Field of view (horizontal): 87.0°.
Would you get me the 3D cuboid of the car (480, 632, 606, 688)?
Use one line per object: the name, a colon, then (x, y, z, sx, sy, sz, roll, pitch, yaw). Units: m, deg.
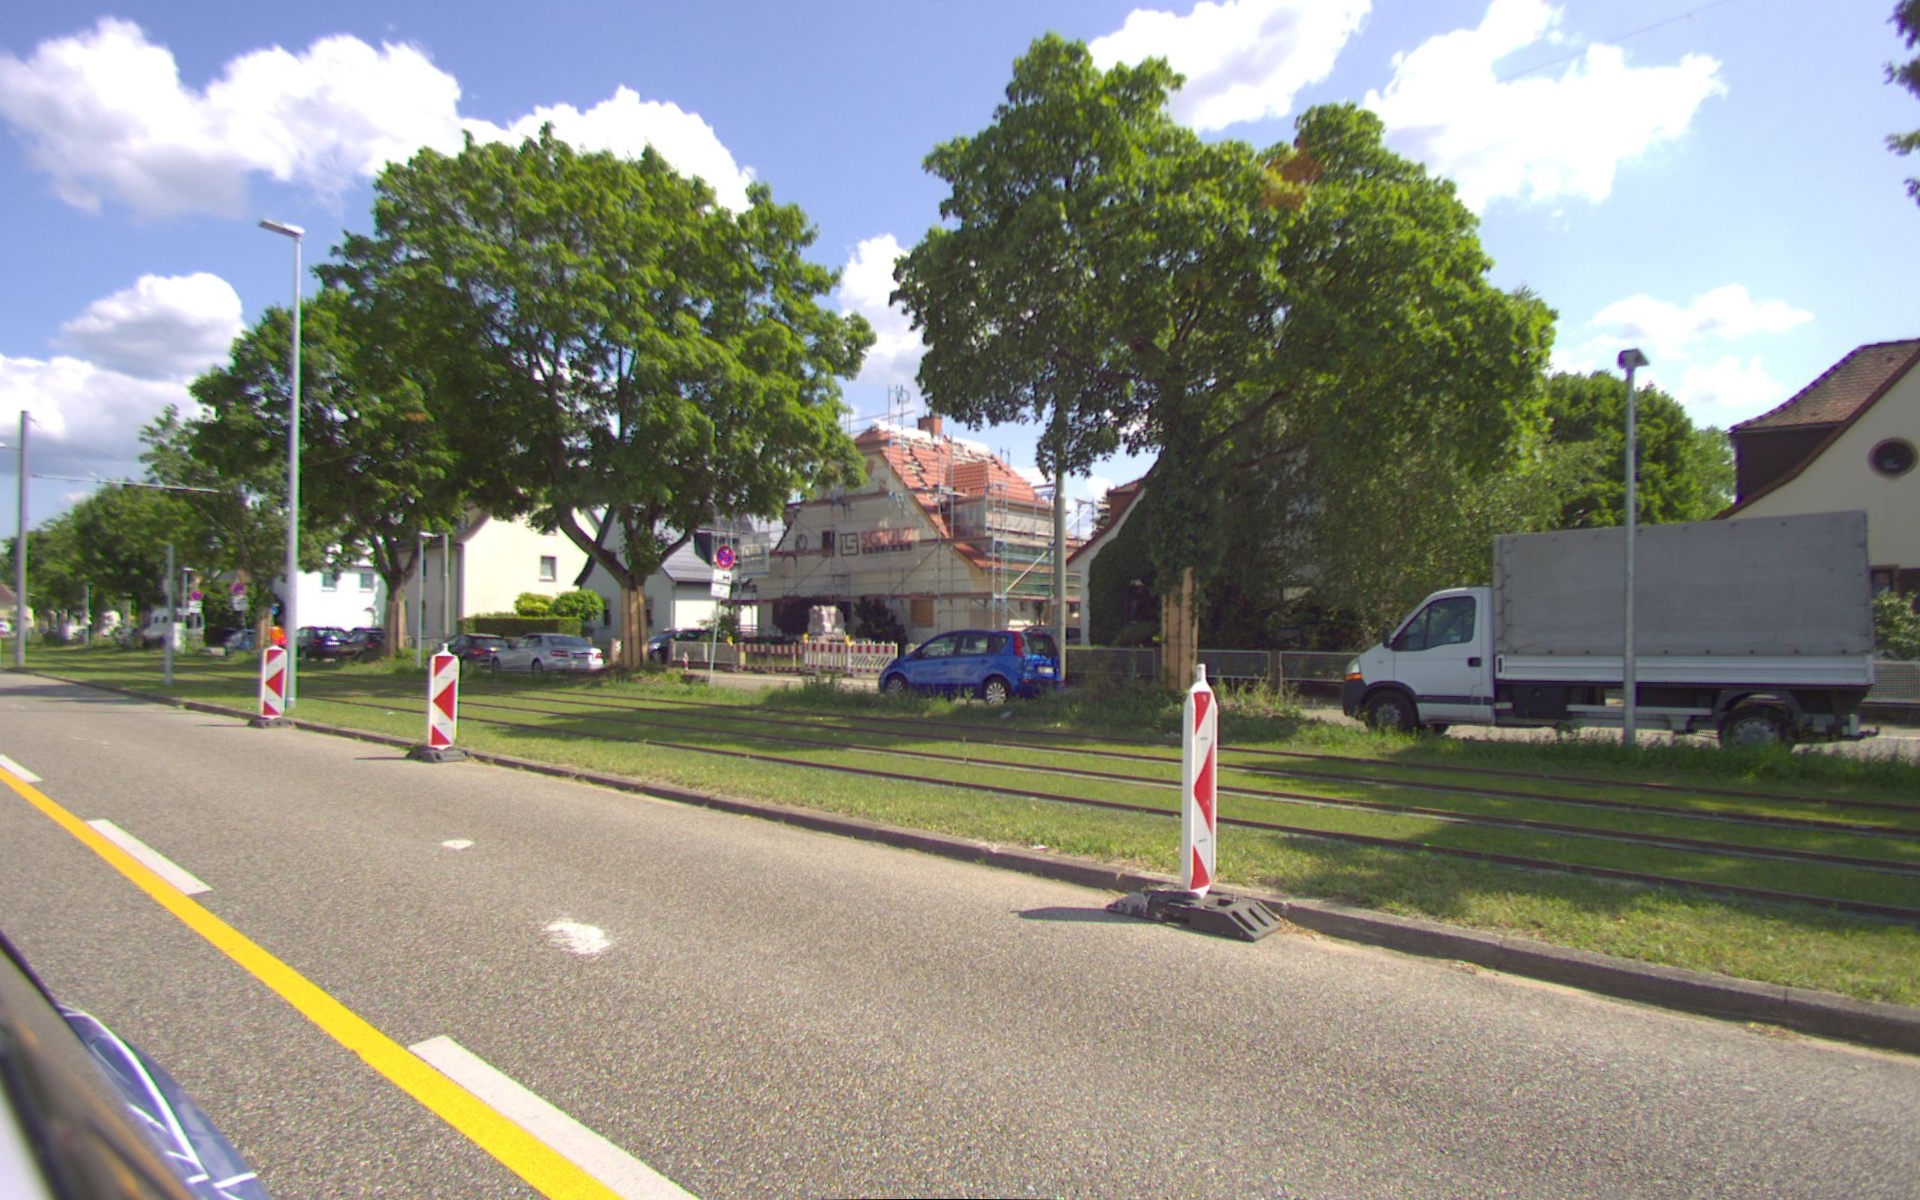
car: (-13.170, 1.831, 31.863, 4.603, 1.623, 1.733, -2, -3, 40)

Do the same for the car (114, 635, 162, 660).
car: (-57.020, 3.267, 70.152, 4.603, 1.623, 1.733, -2, -3, 40)

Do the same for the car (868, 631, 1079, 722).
car: (0.212, 1.444, 20.184, 4.047, 1.623, 1.733, -2, -3, 40)

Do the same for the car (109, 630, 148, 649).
car: (-70.200, 3.328, 85.402, 4.603, 1.623, 1.733, -2, -3, 40)

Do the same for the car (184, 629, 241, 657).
car: (-44.643, 2.552, 60.406, 4.603, 1.623, 1.733, -2, -3, 40)

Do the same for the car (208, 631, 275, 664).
car: (-37.642, 2.468, 52.982, 4.603, 1.623, 1.733, -2, -3, 40)

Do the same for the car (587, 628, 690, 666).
car: (-14.079, 2.048, 44.511, 1.756, 1.623, 3.995, -2, -3, 41)

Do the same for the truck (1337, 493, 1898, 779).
truck: (8.278, 0.467, 13.359, 5.871, 3.010, 1.982, -2, -3, 41)

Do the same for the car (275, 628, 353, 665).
car: (-29.599, 2.098, 46.333, 4.603, 1.623, 1.733, -2, -3, 40)

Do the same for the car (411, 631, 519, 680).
car: (-17.611, 1.915, 35.934, 4.603, 1.623, 1.733, -2, -3, 40)

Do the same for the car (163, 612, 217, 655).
car: (-48.774, 2.104, 64.052, 4.603, 2.636, 1.733, -2, -3, 40)

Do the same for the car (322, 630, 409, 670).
car: (-25.180, 2.074, 42.830, 4.603, 1.623, 1.733, -2, -3, 40)
